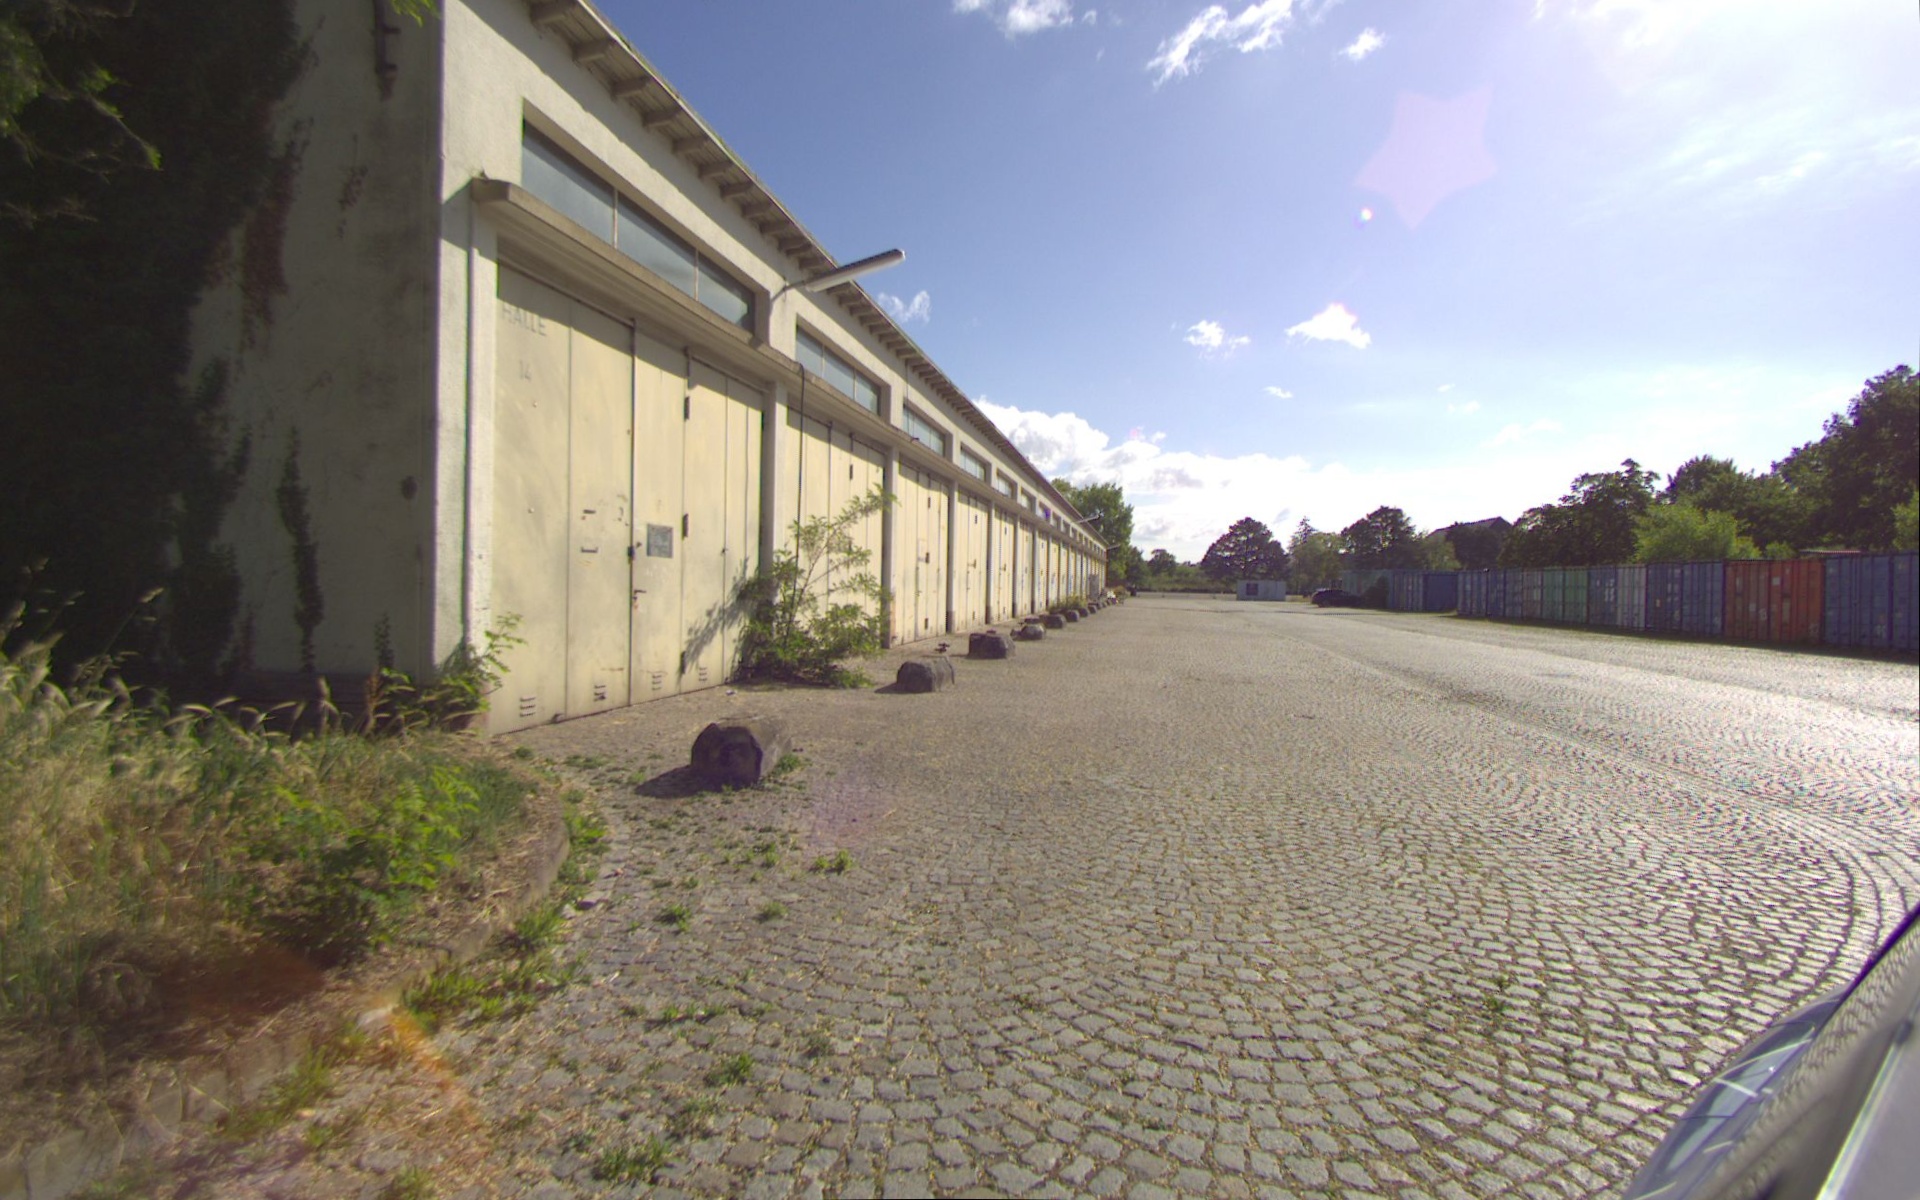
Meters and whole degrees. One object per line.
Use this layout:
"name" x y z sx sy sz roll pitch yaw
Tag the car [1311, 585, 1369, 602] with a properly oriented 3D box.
"car" 30.614 -0.511 81.567 4.047 1.312 1.995 -1 1 9
